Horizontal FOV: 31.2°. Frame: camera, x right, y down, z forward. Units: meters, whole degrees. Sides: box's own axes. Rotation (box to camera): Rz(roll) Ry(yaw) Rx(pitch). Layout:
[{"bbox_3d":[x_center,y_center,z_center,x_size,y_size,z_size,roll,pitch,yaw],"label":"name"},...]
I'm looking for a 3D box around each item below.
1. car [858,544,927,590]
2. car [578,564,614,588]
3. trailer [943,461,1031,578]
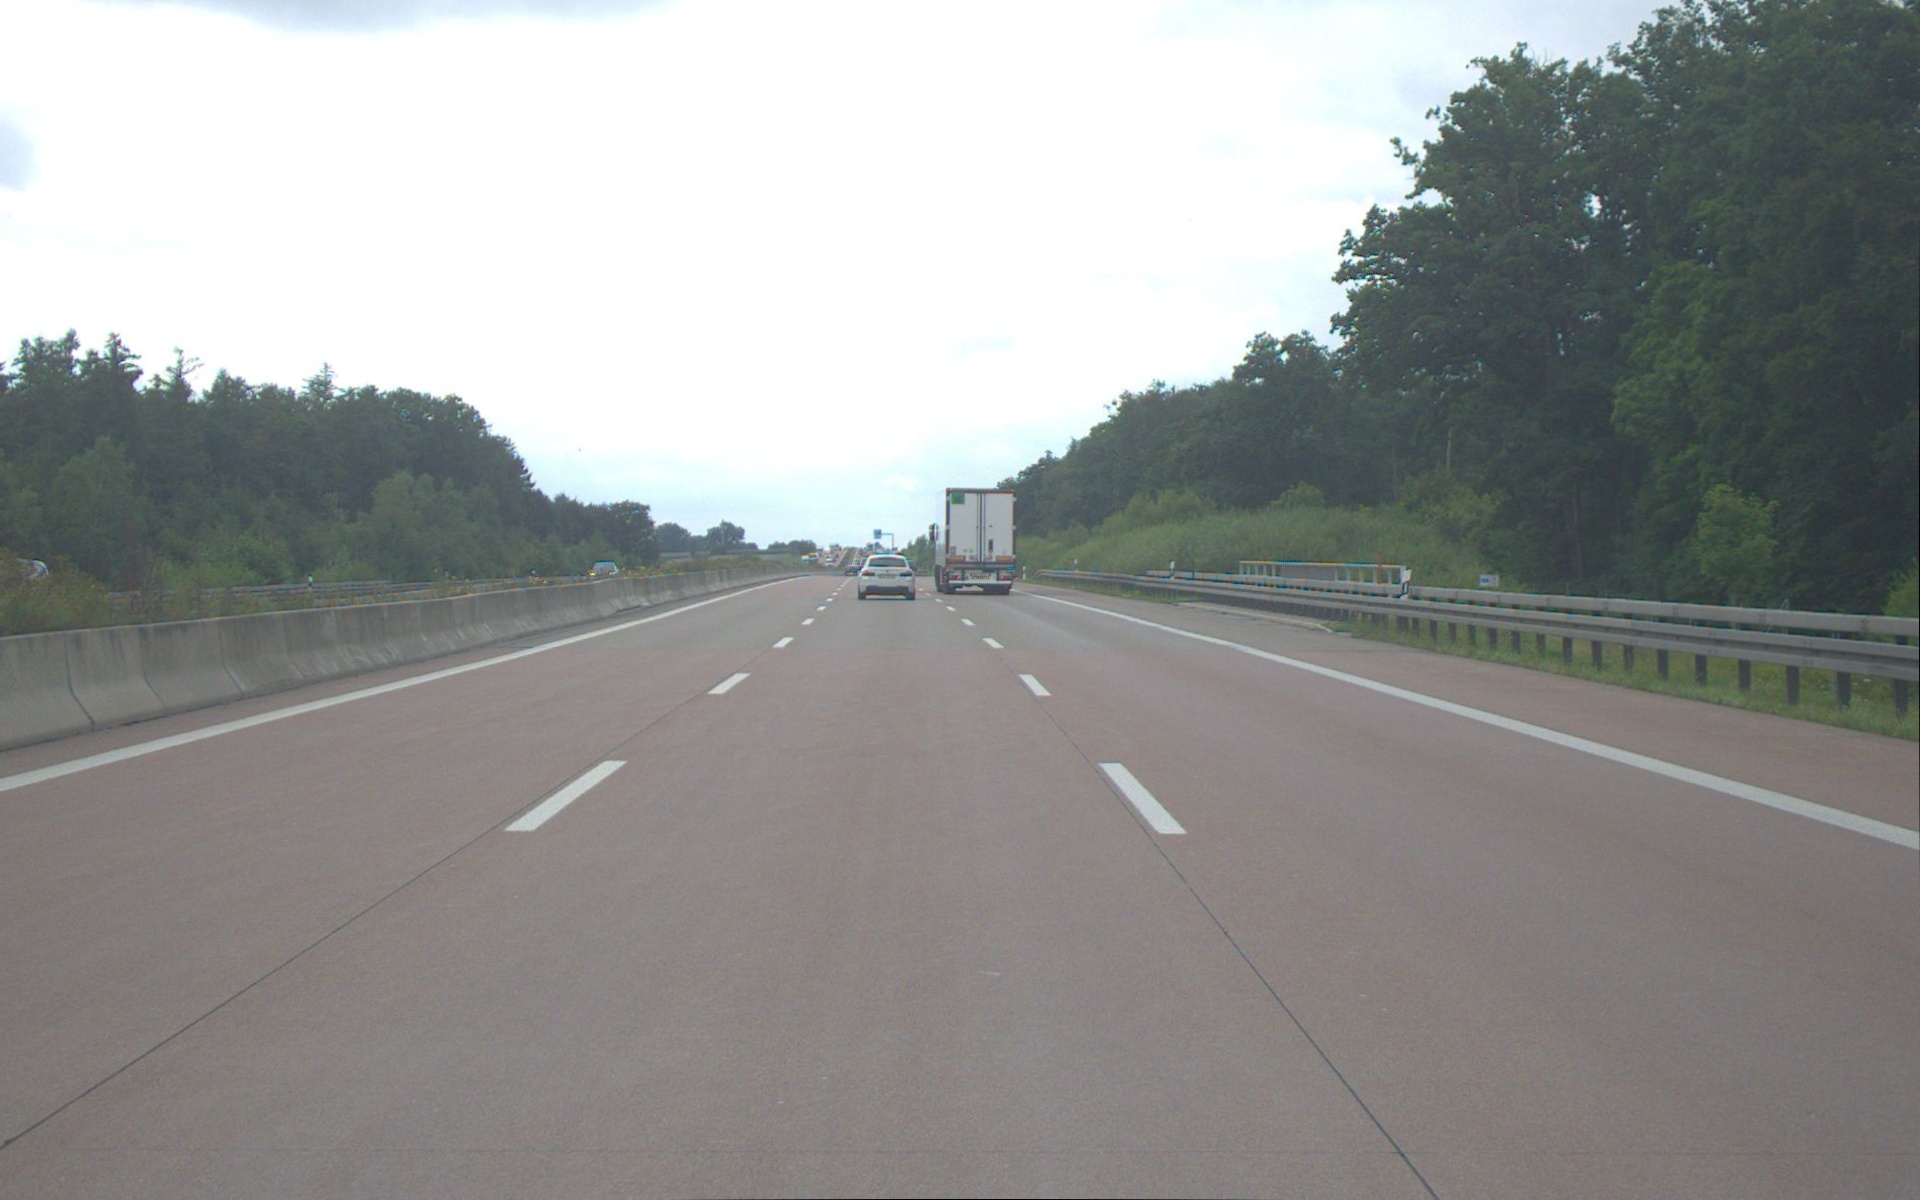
[{"bbox_3d":[-2.197,-1.104,113.399,2.163,1.446,4.719,1,1,0],"label":"car"},{"bbox_3d":[-25.750,-1.707,243.411,2.124,1.585,5.198,-1,1,-2],"label":"car"},{"bbox_3d":[0.949,-3.005,133.152,2.921,4.279,13.614,0,0,-2],"label":"trailer"}]
